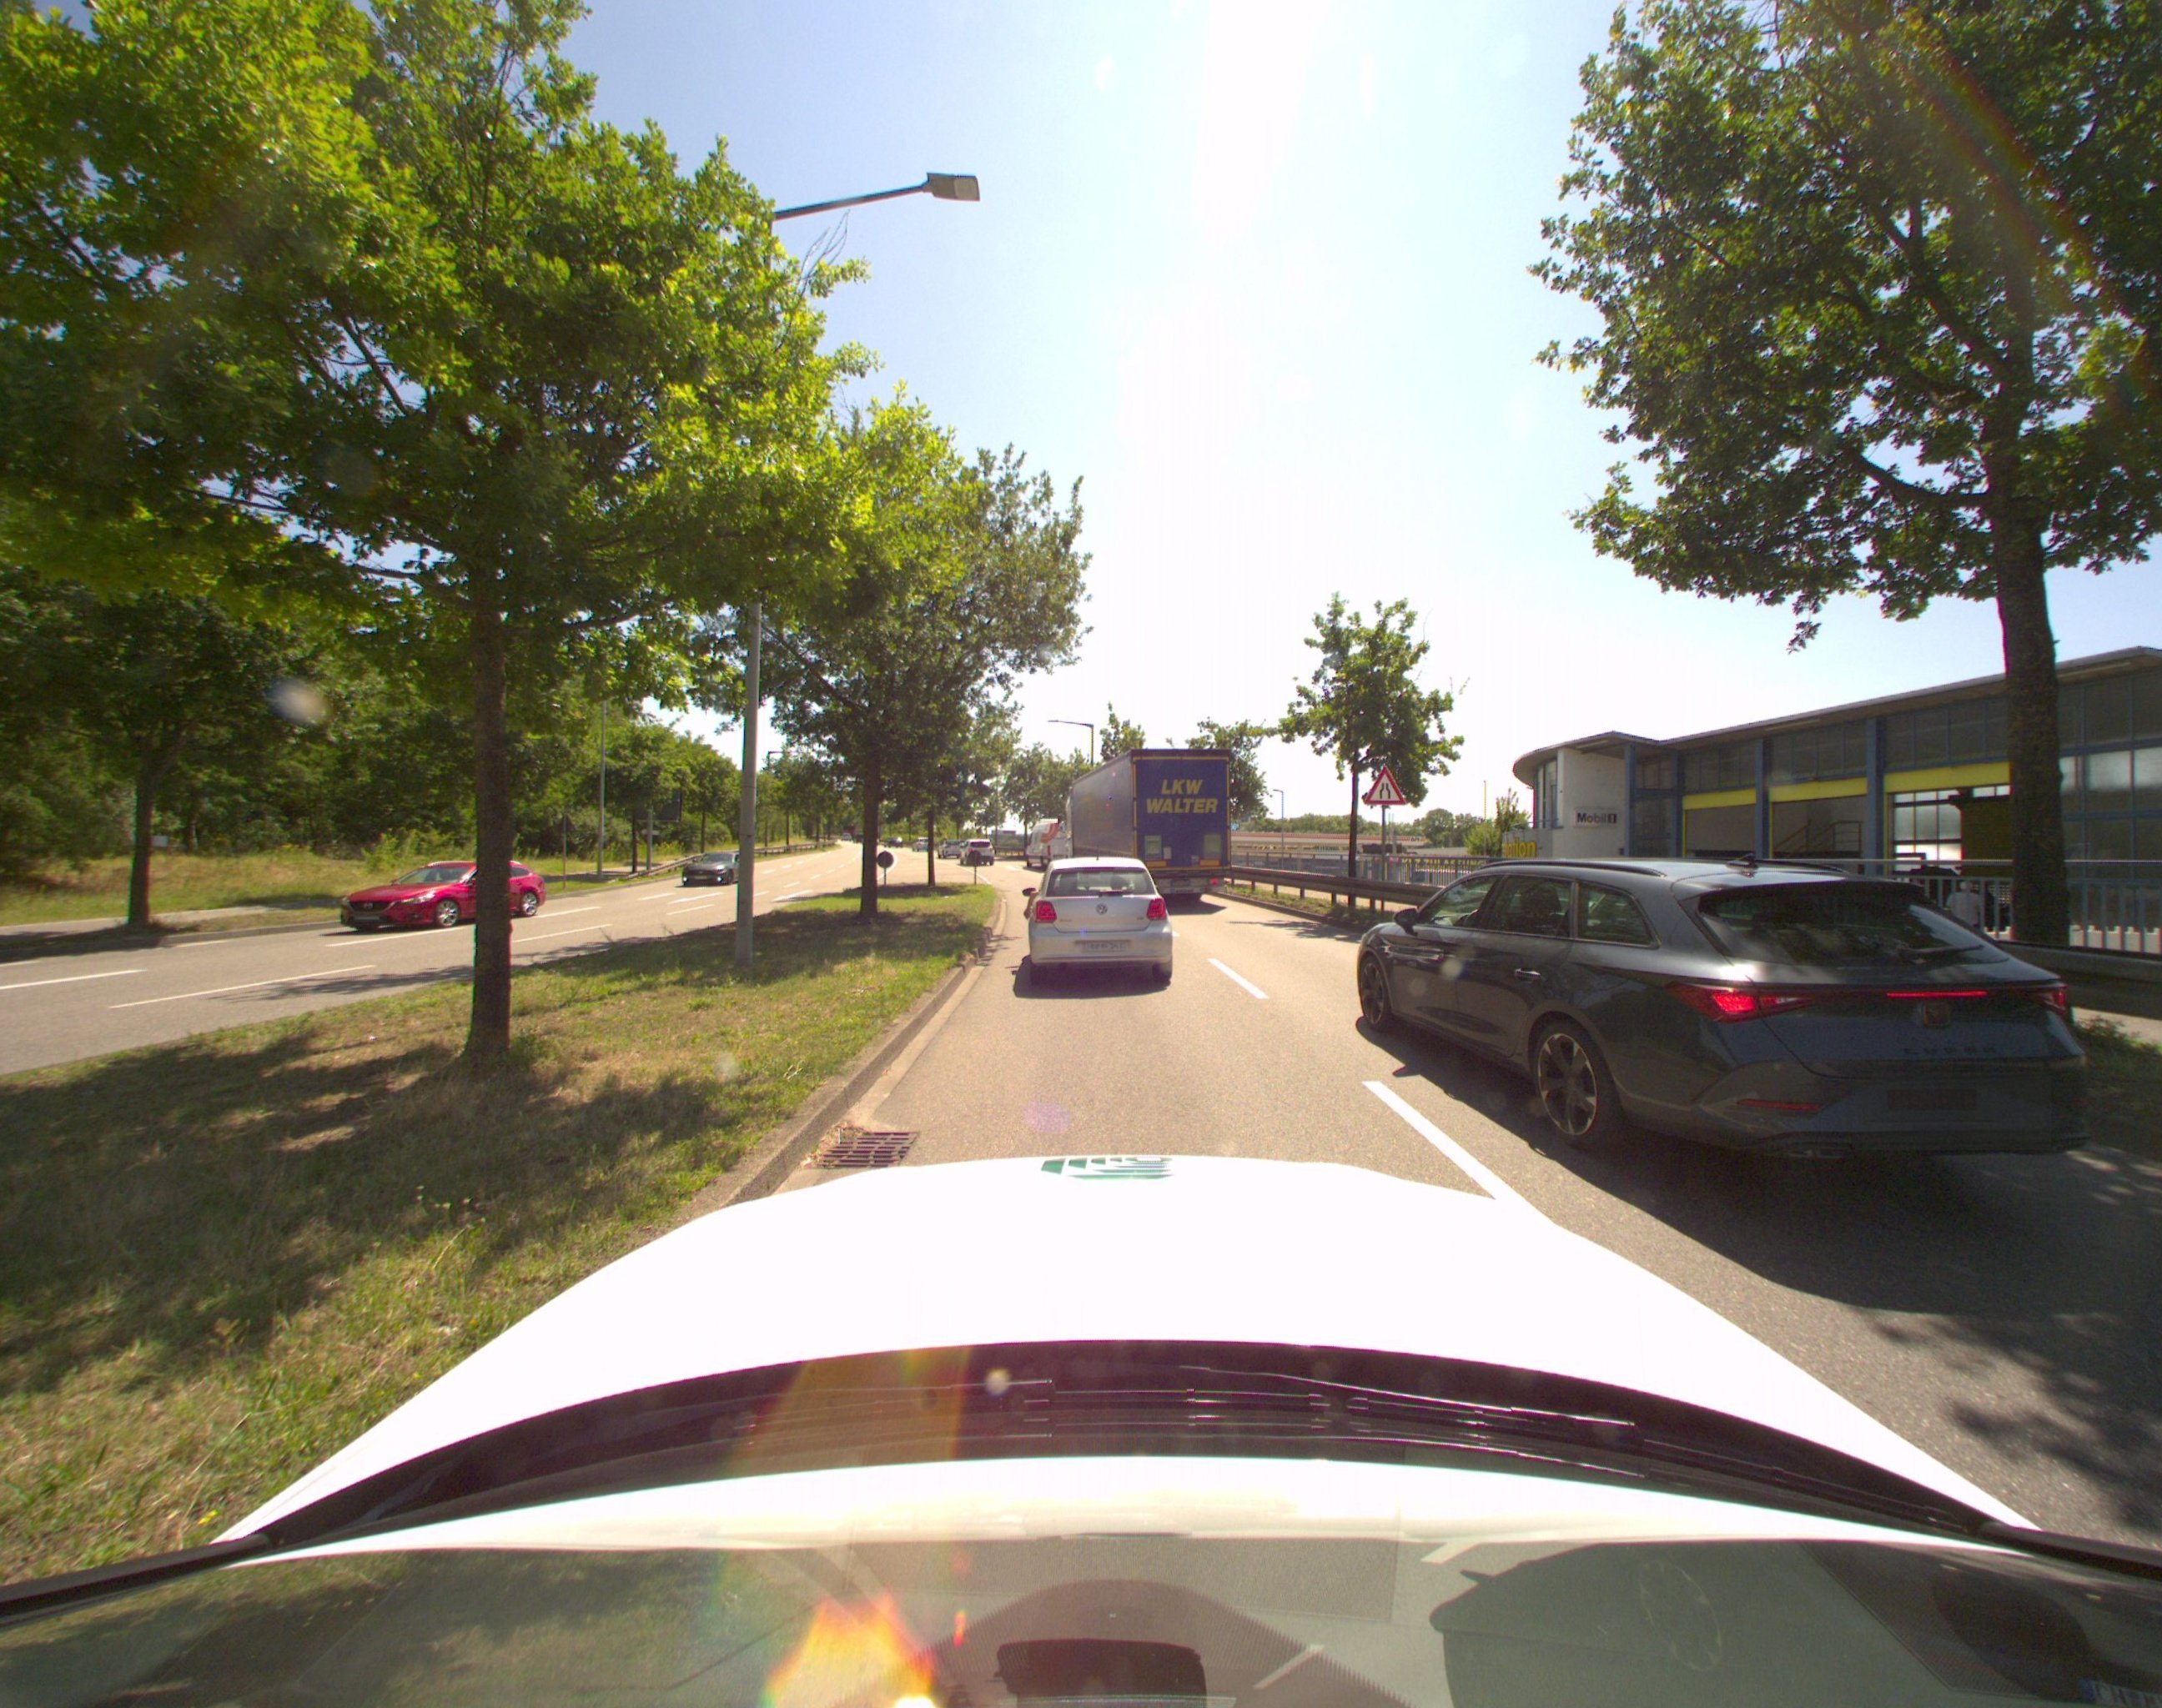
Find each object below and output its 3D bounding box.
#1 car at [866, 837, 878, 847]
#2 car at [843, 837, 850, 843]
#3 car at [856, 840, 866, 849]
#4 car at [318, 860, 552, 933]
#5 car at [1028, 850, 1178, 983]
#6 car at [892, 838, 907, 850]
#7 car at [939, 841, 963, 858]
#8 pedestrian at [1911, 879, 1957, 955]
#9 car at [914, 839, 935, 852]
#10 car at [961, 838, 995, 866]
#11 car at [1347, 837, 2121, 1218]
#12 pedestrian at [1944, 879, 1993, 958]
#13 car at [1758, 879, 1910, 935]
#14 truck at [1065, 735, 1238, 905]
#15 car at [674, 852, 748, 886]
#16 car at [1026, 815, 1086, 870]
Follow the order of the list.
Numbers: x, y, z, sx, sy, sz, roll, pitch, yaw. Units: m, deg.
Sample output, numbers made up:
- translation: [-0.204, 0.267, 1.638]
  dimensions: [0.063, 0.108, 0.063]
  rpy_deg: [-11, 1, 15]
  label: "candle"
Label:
- translation: [-30.180, -1.668, 117.492]
  dimensions: [1.460, 1.314, 3.616]
  rpy_deg: [0, -1, -18]
  label: "car"
- translation: [-43.653, -2.633, 151.673]
  dimensions: [1.324, 1.139, 2.978]
  rpy_deg: [0, -1, -16]
  label: "car"
- translation: [-34.936, -1.441, 129.231]
  dimensions: [1.420, 1.314, 3.319]
  rpy_deg: [0, -1, -15]
  label: "car"
- translation: [-14.740, 0.899, 19.000]
  dimensions: [1.825, 1.437, 4.524]
  rpy_deg: [-2, -1, 0]
  label: "car"
- translation: [0.174, 0.691, 10.630]
  dimensions: [1.642, 1.439, 3.533]
  rpy_deg: [0, -1, -2]
  label: "car"
- translation: [-23.235, -1.280, 104.150]
  dimensions: [1.668, 1.465, 3.562]
  rpy_deg: [0, -1, -15]
  label: "car"
- translation: [-10.551, -0.382, 65.785]
  dimensions: [1.498, 1.360, 3.642]
  rpy_deg: [0, 0, -16]
  label: "car"
- translation: [19.519, 1.433, 18.639]
  dimensions: [0.520, 1.703, 0.488]
  rpy_deg: [0, -1, -2]
  label: "pedestrian"
- translation: [-16.794, -0.897, 87.224]
  dimensions: [1.613, 1.360, 3.638]
  rpy_deg: [0, 0, -20]
  label: "car"
- translation: [-6.751, -0.111, 53.002]
  dimensions: [1.904, 1.718, 4.207]
  rpy_deg: [0, -1, -11]
  label: "car"
- translation: [3.213, 0.682, 5.258]
  dimensions: [1.600, 1.456, 4.234]
  rpy_deg: [0, -1, 0]
  label: "car"
- translation: [19.586, 1.414, 17.987]
  dimensions: [0.425, 1.703, 0.589]
  rpy_deg: [0, -1, -3]
  label: "pedestrian"
- translation: [24.090, 1.662, 26.119]
  dimensions: [3.665, 1.684, 1.646]
  rpy_deg: [0, -1, -8]
  label: "car"
- translation: [1.637, -0.876, 28.558]
  dimensions: [2.830, 4.198, 16.436]
  rpy_deg: [0, 0, -7]
  label: "truck"
- translation: [-15.750, 0.622, 34.921]
  dimensions: [1.810, 1.333, 4.553]
  rpy_deg: [0, -1, -10]
  label: "car"
- translation: [-1.529, -0.652, 46.398]
  dimensions: [2.178, 2.900, 6.330]
  rpy_deg: [0, 1, -13]
  label: "car"
